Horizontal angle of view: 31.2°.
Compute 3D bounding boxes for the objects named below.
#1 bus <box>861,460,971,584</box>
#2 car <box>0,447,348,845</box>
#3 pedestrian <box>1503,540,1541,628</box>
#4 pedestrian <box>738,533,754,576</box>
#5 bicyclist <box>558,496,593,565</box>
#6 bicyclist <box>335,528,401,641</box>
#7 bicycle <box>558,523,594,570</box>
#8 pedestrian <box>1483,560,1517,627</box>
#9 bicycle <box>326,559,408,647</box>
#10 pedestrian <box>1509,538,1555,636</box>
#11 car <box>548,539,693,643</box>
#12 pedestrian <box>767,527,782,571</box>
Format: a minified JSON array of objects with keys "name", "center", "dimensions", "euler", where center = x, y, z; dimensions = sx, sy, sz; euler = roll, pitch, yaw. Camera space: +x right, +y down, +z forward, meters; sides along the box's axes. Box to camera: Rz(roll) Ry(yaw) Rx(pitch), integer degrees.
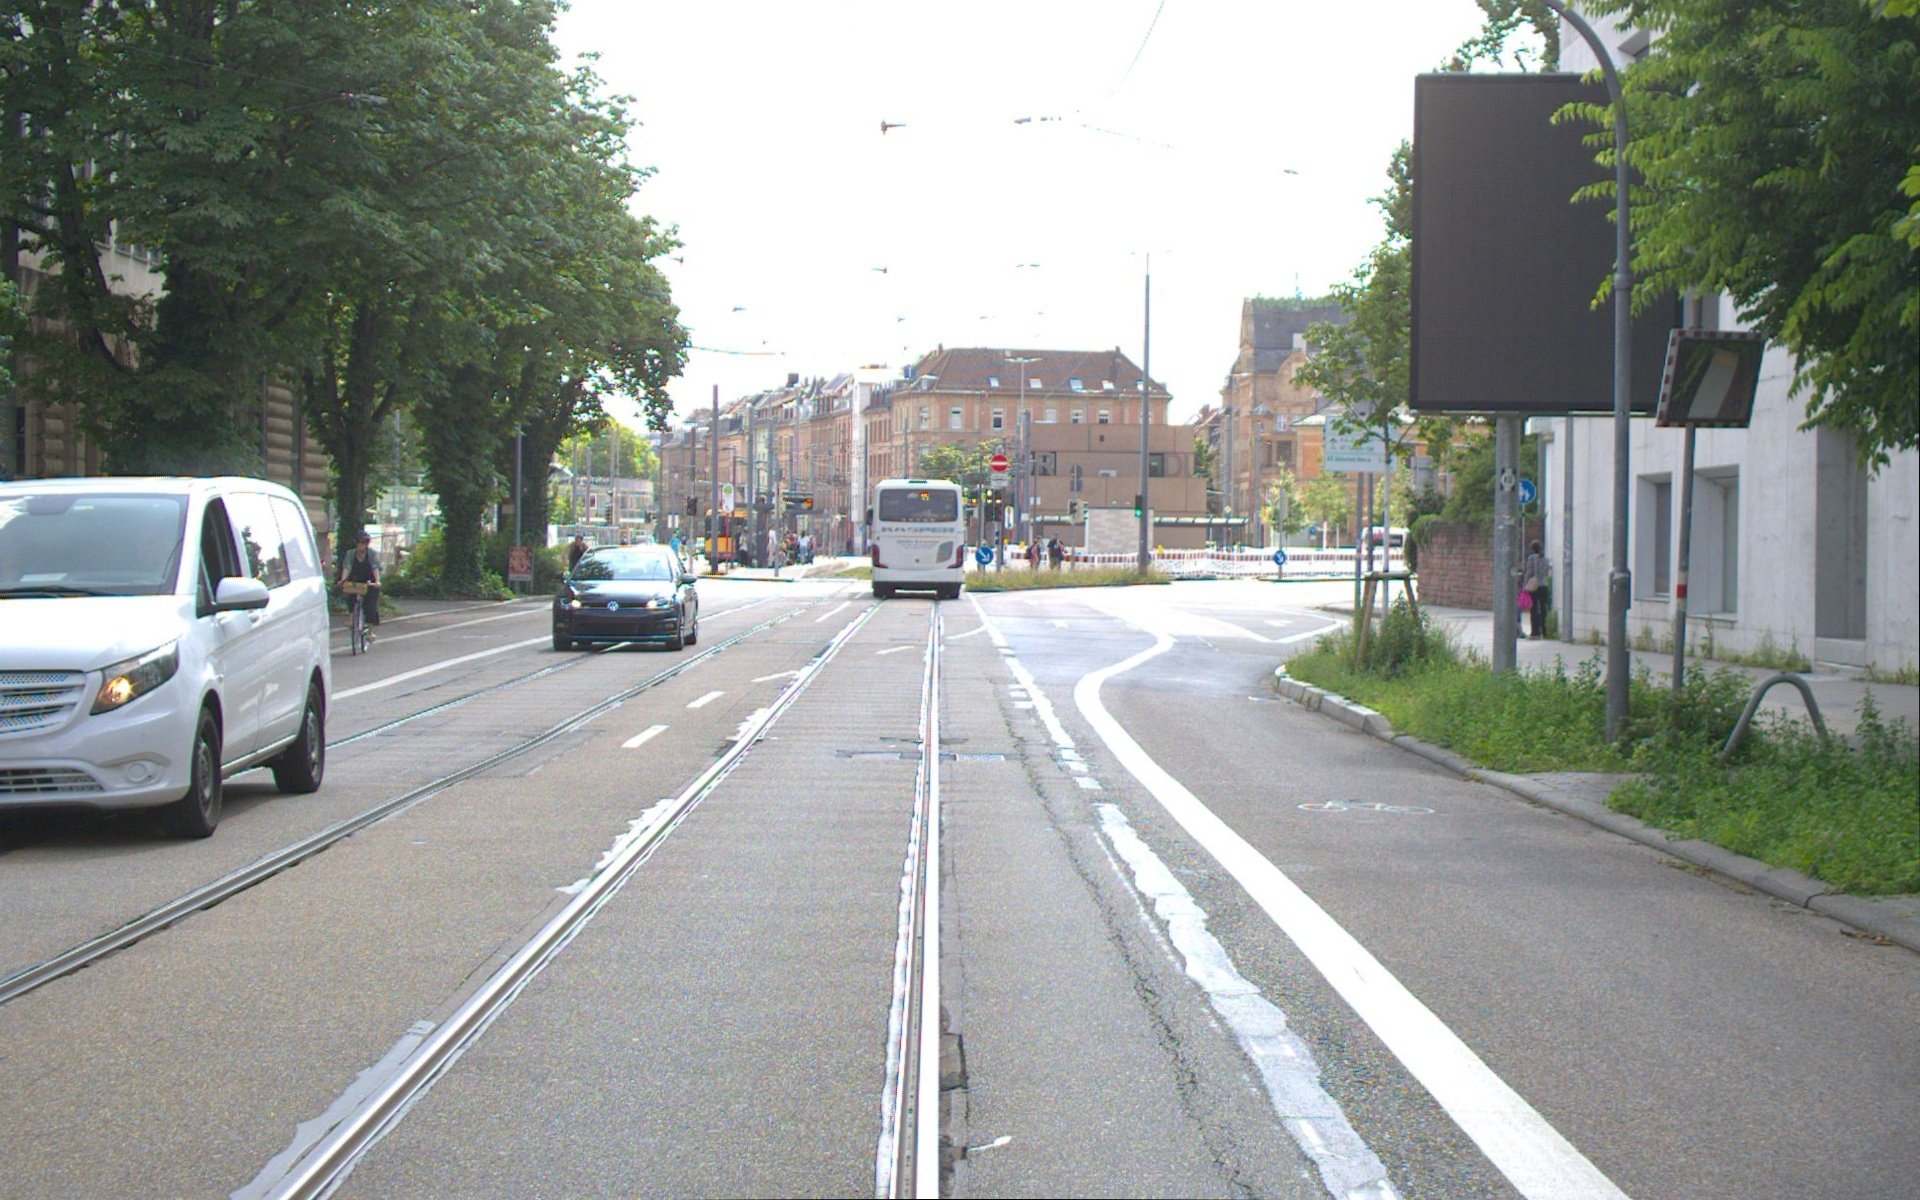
[{"name":"bus","center":[-1.323,-2.212,100.239],"dimensions":[2.917,3.317,12.207],"euler":[2,1,-1]},{"name":"car","center":[-4.765,0.163,19.165],"dimensions":[1.897,1.901,5.385],"euler":[1,1,-2]},{"name":"pedestrian","center":[10.257,-0.292,62.761],"dimensions":[0.519,1.575,0.549],"euler":[-1,2,-10]},{"name":"pedestrian","center":[-9.340,-1.982,149.881],"dimensions":[0.611,1.878,0.794],"euler":[1,1,0]},{"name":"bicyclist","center":[-8.434,-1.528,75.429],"dimensions":[0.691,1.514,0.868],"euler":[-1,1,-3]},{"name":"bicyclist","center":[-8.102,-0.219,47.085],"dimensions":[0.599,1.487,0.882],"euler":[-5,1,3]},{"name":"bicycle","center":[-8.429,-1.188,75.469],"dimensions":[0.698,1.014,1.820],"euler":[0,1,-4]},{"name":"pedestrian","center":[9.754,-0.118,62.099],"dimensions":[0.421,1.196,0.406],"euler":[-2,3,-33]},{"name":"bicycle","center":[-8.091,0.025,46.978],"dimensions":[0.602,1.093,2.023],"euler":[-5,1,2]},{"name":"pedestrian","center":[10.187,-0.239,61.246],"dimensions":[0.684,1.718,0.747],"euler":[-1,2,1]},{"name":"car","center":[-4.716,-0.154,48.190],"dimensions":[1.688,1.397,3.931],"euler":[0,1,-1]},{"name":"pedestrian","center":[-7.843,-2.159,145.376],"dimensions":[0.611,1.878,0.794],"euler":[1,1,0]}]
